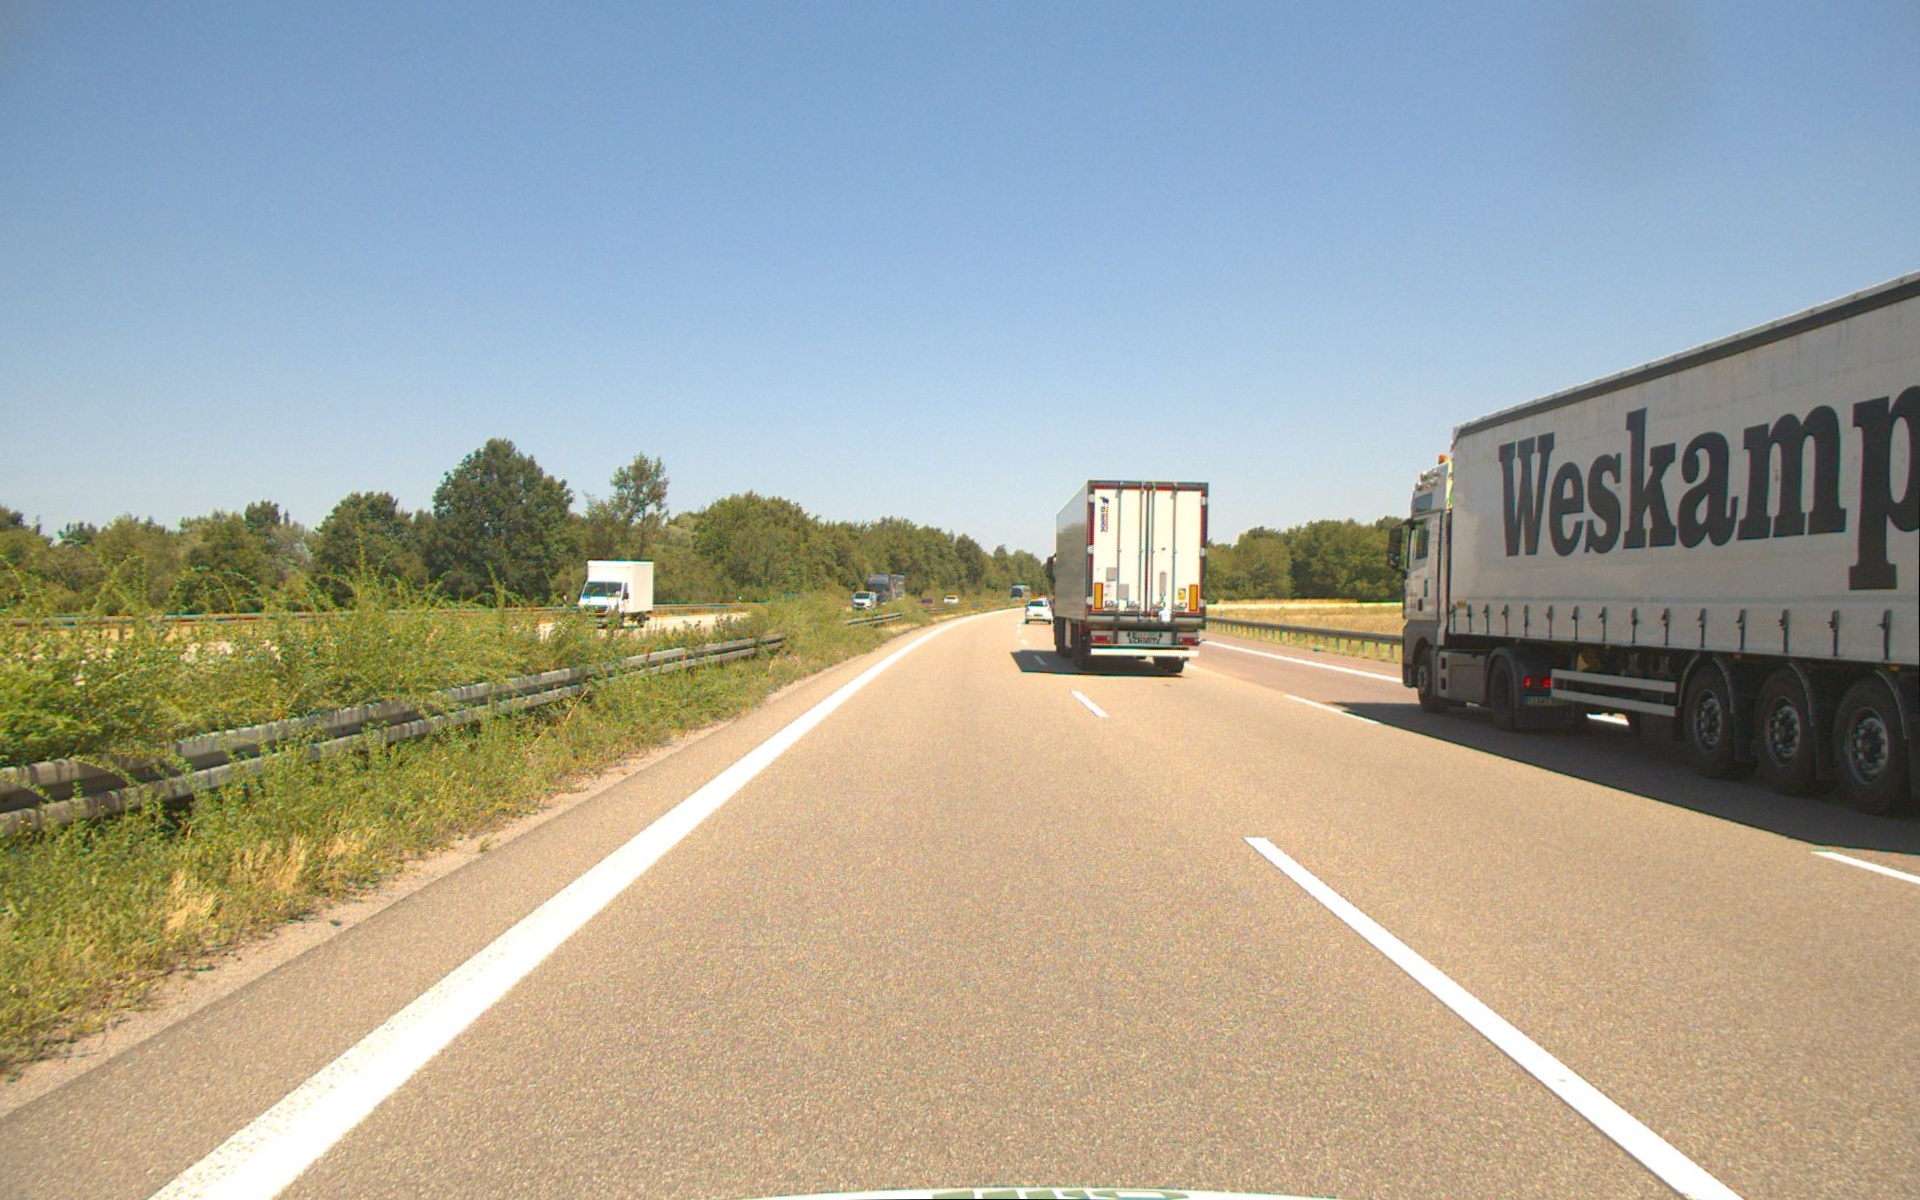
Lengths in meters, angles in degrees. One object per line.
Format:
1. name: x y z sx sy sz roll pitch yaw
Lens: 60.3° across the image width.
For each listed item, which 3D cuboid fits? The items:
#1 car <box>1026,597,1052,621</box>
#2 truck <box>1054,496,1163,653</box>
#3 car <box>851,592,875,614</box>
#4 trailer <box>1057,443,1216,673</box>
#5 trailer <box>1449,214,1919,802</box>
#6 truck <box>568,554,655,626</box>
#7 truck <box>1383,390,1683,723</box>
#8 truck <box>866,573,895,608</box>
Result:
1. car: 5.071 0.550 105.469 1.593 1.505 4.002 0 0 3
2. truck: 4.271 -0.724 48.495 2.848 4.330 4.976 1 0 2
3. car: -9.480 0.274 161.697 2.016 2.107 5.408 0 0 0
4. trailer: 4.074 -0.891 41.360 2.841 4.738 13.989 1 0 2
5. trailer: 8.275 -0.626 16.620 2.543 4.326 13.638 1 -1 -1
6. truck: -15.971 -0.453 76.244 2.401 3.153 6.991 0 0 1
7. truck: 8.184 -0.579 24.291 2.547 4.330 5.088 1 0 -1
8. truck: -9.217 -1.101 191.796 2.832 3.984 4.002 0 0 5
